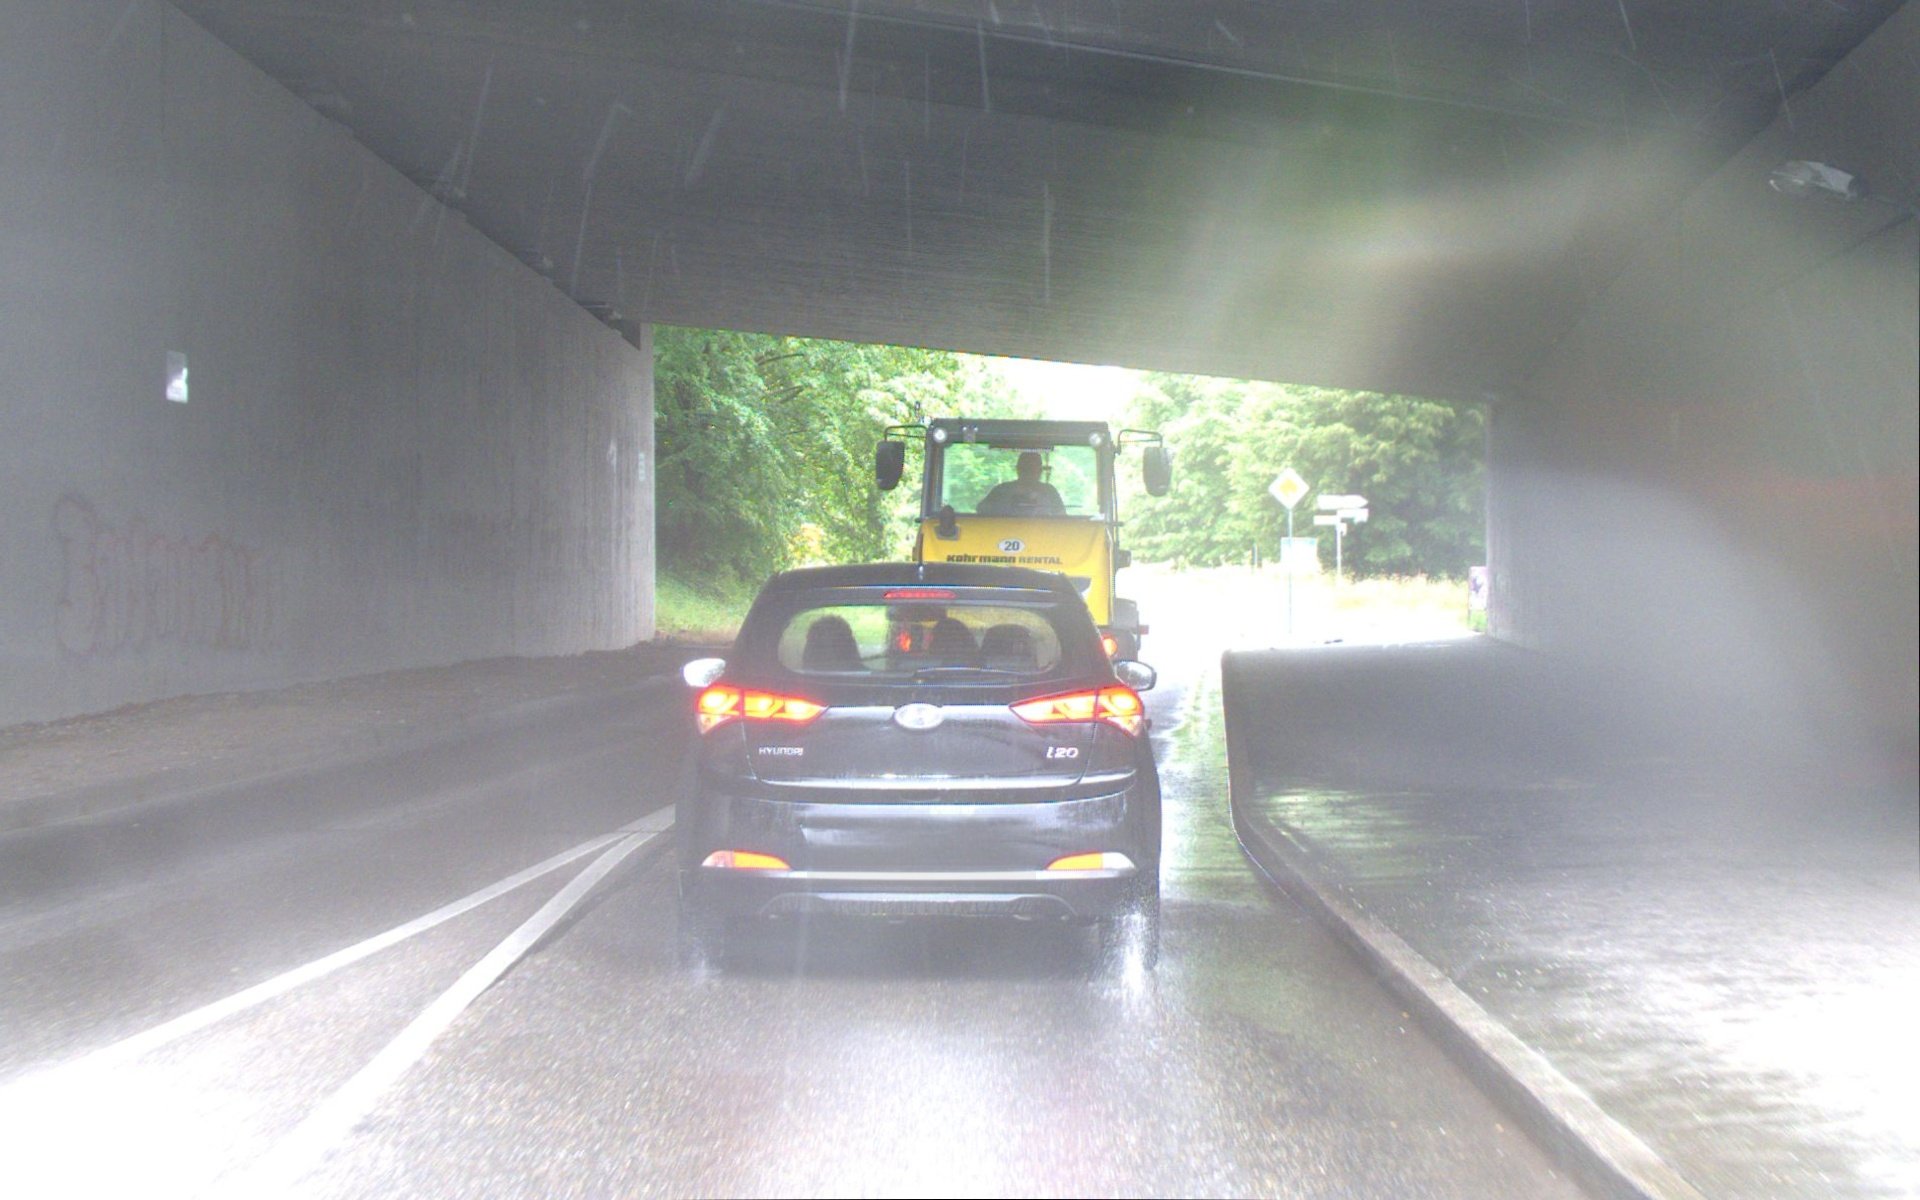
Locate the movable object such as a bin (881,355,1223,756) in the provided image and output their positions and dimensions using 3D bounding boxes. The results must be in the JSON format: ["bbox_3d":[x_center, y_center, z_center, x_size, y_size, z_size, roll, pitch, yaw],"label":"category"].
[{"bbox_3d":[0.674,-0.339,26.750,2.246,2.660,6.626,2,1,1],"label":"movable object such as a bin"}]

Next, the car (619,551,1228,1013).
[{"bbox_3d":[-0.094,0.586,13.515,1.993,1.482,4.000,2,1,1],"label":"car"}]
